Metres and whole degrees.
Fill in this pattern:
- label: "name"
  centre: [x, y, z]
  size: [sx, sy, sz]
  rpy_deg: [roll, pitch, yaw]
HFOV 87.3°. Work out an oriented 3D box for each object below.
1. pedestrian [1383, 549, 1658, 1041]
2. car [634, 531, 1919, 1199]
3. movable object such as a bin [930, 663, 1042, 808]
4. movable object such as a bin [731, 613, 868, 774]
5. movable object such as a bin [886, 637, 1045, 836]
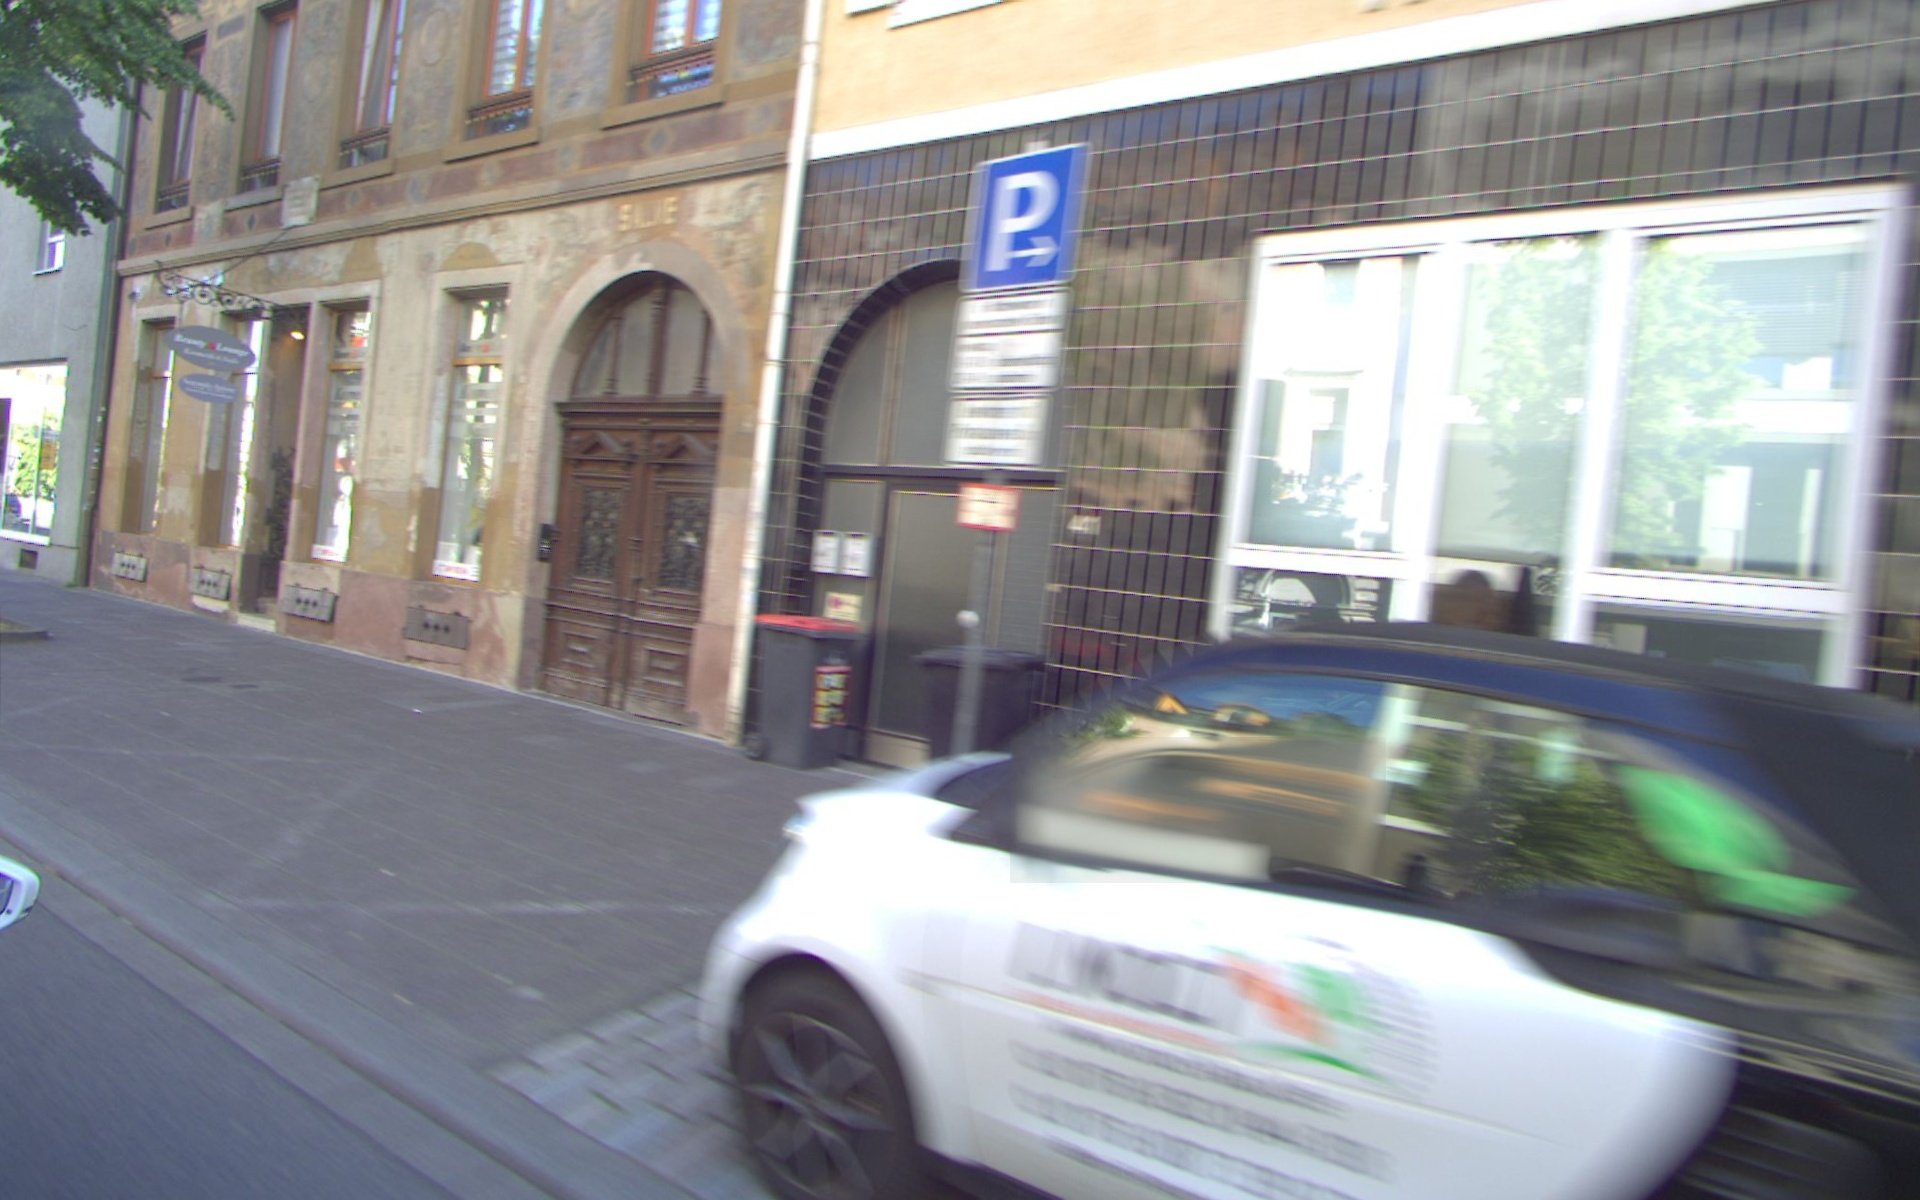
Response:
- label: "pedestrian"
  centre: [2.314, 0.730, 4.185]
  size: [0.758, 1.789, 0.622]
  rpy_deg: [7, 3, 32]
- label: "car"
  centre: [0.925, 0.771, 2.479]
  size: [3.009, 1.549, 1.615]
  rpy_deg: [7, 2, 31]
- label: "movable object such as a bin"
  centre: [0.178, 0.891, 6.763]
  size: [0.471, 0.871, 0.511]
  rpy_deg: [7, 1, 32]
- label: "movable object such as a bin"
  centre: [-1.178, 0.659, 7.413]
  size: [0.710, 1.054, 0.588]
  rpy_deg: [7, 3, 32]
- label: "movable object such as a bin"
  centre: [0.031, 0.791, 6.107]
  size: [0.710, 1.054, 0.522]
  rpy_deg: [7, 3, 32]
